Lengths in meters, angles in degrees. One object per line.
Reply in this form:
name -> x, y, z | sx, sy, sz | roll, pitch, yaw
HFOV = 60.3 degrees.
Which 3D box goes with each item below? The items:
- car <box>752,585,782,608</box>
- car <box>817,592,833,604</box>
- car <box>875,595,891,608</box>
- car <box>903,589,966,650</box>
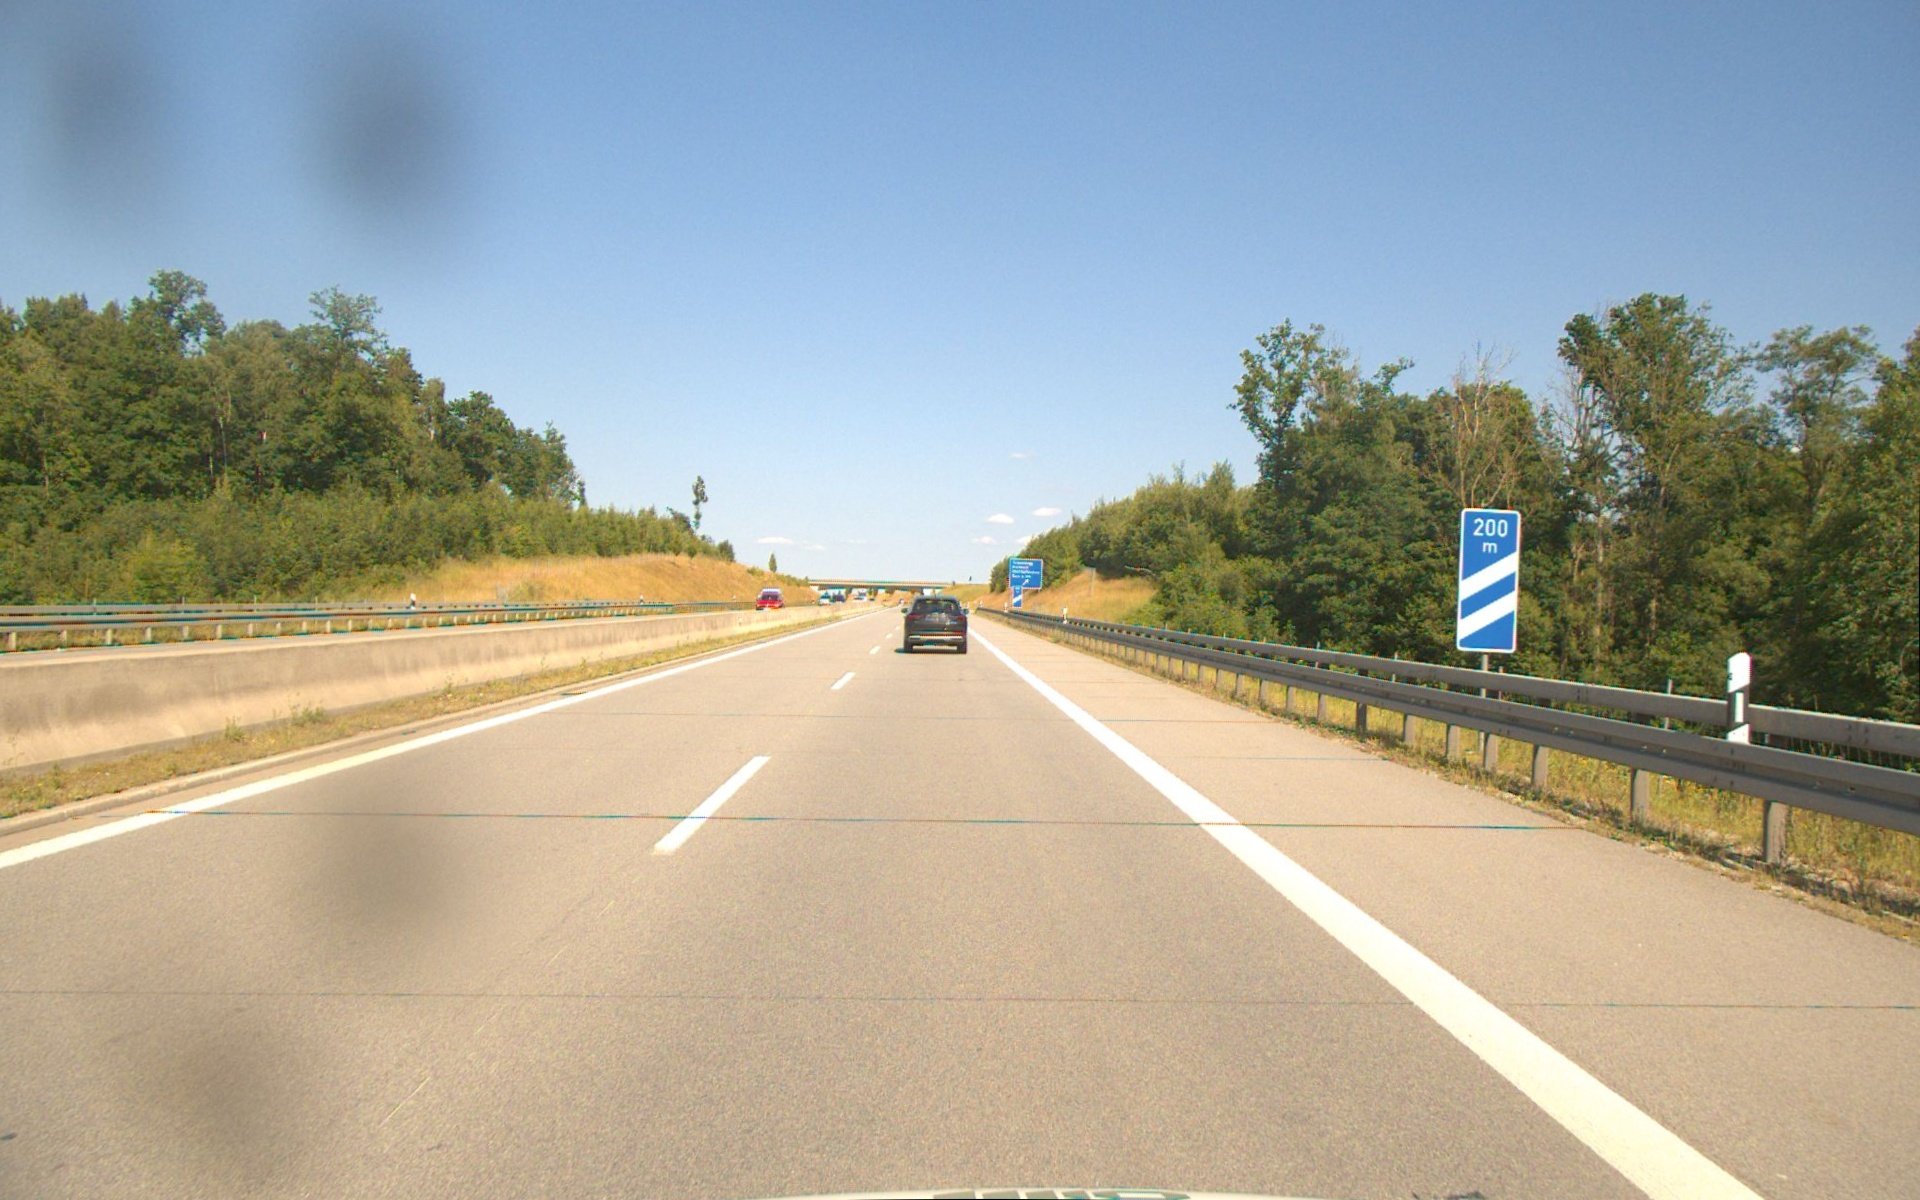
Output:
car -> -14.290, -0.253, 122.601 | 1.633, 1.672, 4.888 | 1, 0, -1
car -> -18.463, -0.335, 226.307 | 1.953, 1.609, 4.648 | 1, 0, -1
car -> -9.883, 0.131, 212.278 | 1.953, 1.609, 4.648 | 1, 0, -1
car -> -0.734, 0.524, 47.709 | 1.687, 1.615, 5.221 | 1, 0, -1
